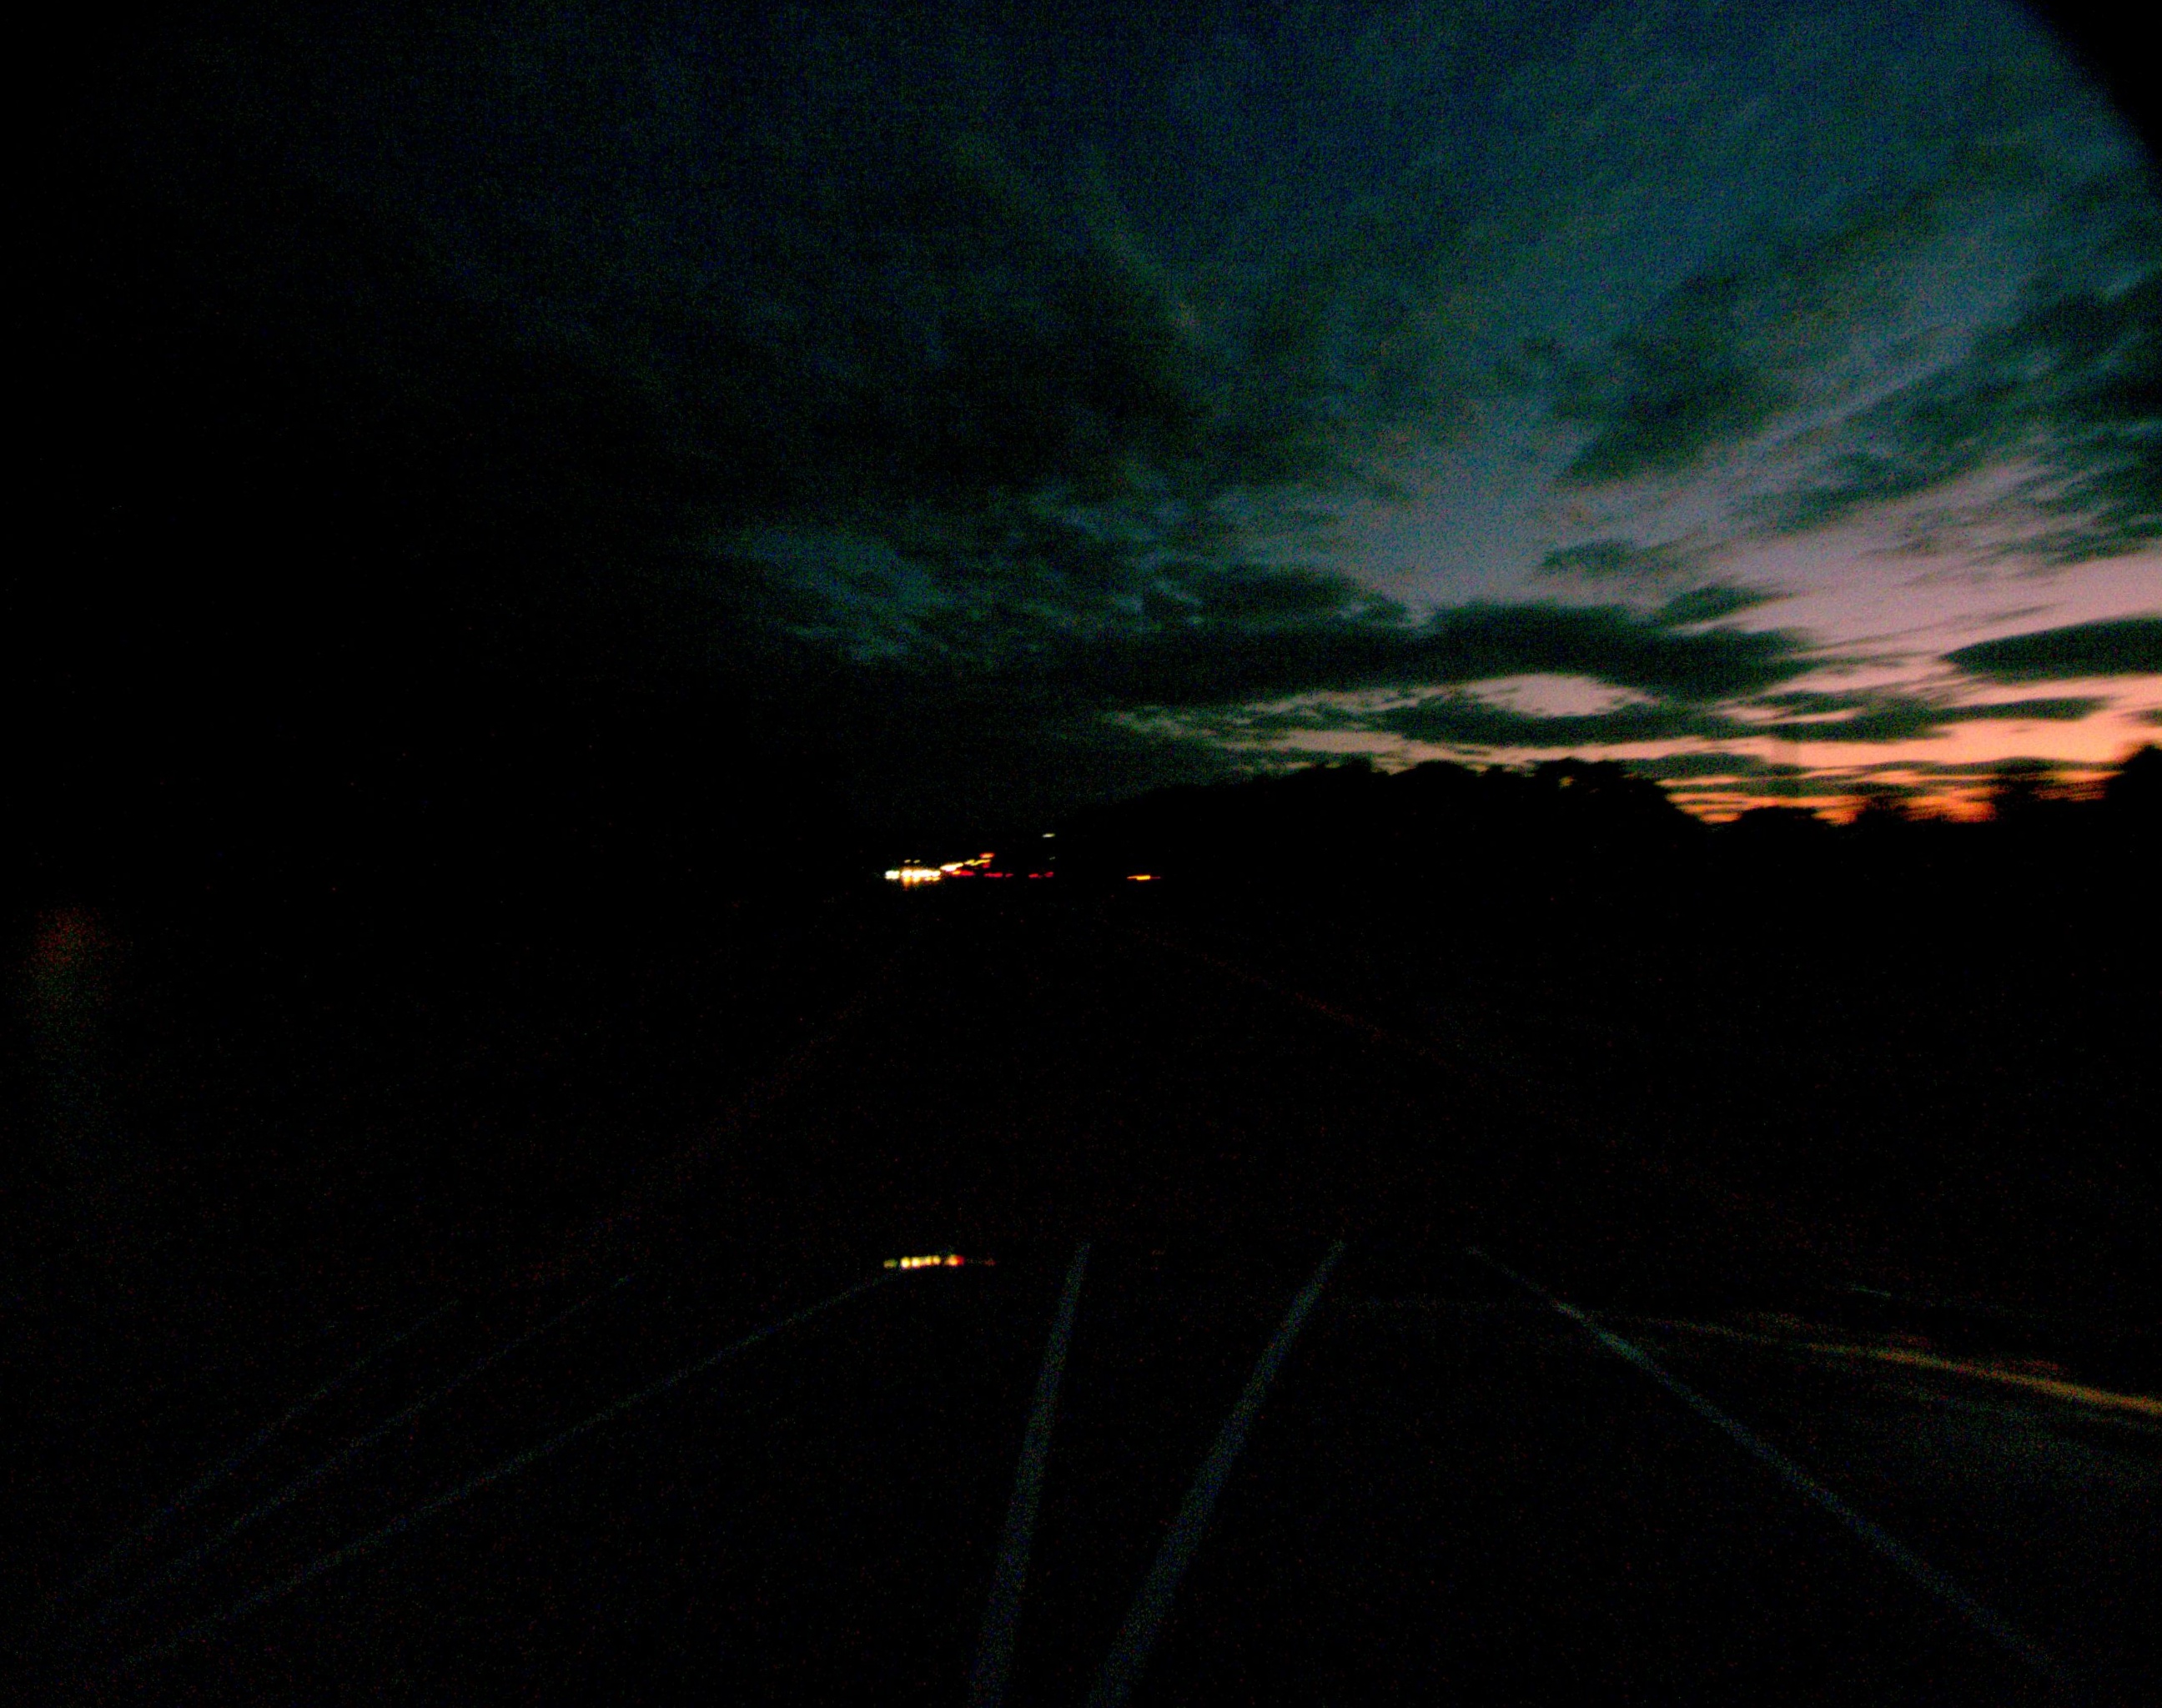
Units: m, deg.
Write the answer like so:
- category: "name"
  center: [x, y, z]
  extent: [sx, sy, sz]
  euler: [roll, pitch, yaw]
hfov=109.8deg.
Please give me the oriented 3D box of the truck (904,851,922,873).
- category: "truck"
  center: [-34.964, 1.758, 158.161]
  extent: [3.357, 4.292, 11.313]
  euler: [2, -1, -13]

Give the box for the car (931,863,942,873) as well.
- category: "car"
  center: [-30.079, 2.980, 158.186]
  extent: [2.001, 2.001, 3.995]
  euler: [2, -1, -13]

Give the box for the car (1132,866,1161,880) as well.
- category: "car"
  center: [7.641, 2.163, 88.832]
  extent: [2.001, 1.539, 3.994]
  euler: [-1, 0, -17]

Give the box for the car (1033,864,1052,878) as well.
- category: "car"
  center: [-5.779, 2.524, 114.746]
  extent: [2.001, 2.002, 3.994]
  euler: [0, 0, -17]

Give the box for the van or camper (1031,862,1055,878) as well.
- category: "van or camper"
  center: [-6.404, 2.642, 126.854]
  extent: [2.527, 2.579, 6.479]
  euler: [1, -1, -17]

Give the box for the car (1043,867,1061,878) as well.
- category: "car"
  center: [-5.237, 3.312, 137.226]
  extent: [2.036, 2.001, 4.232]
  euler: [1, -1, -18]
